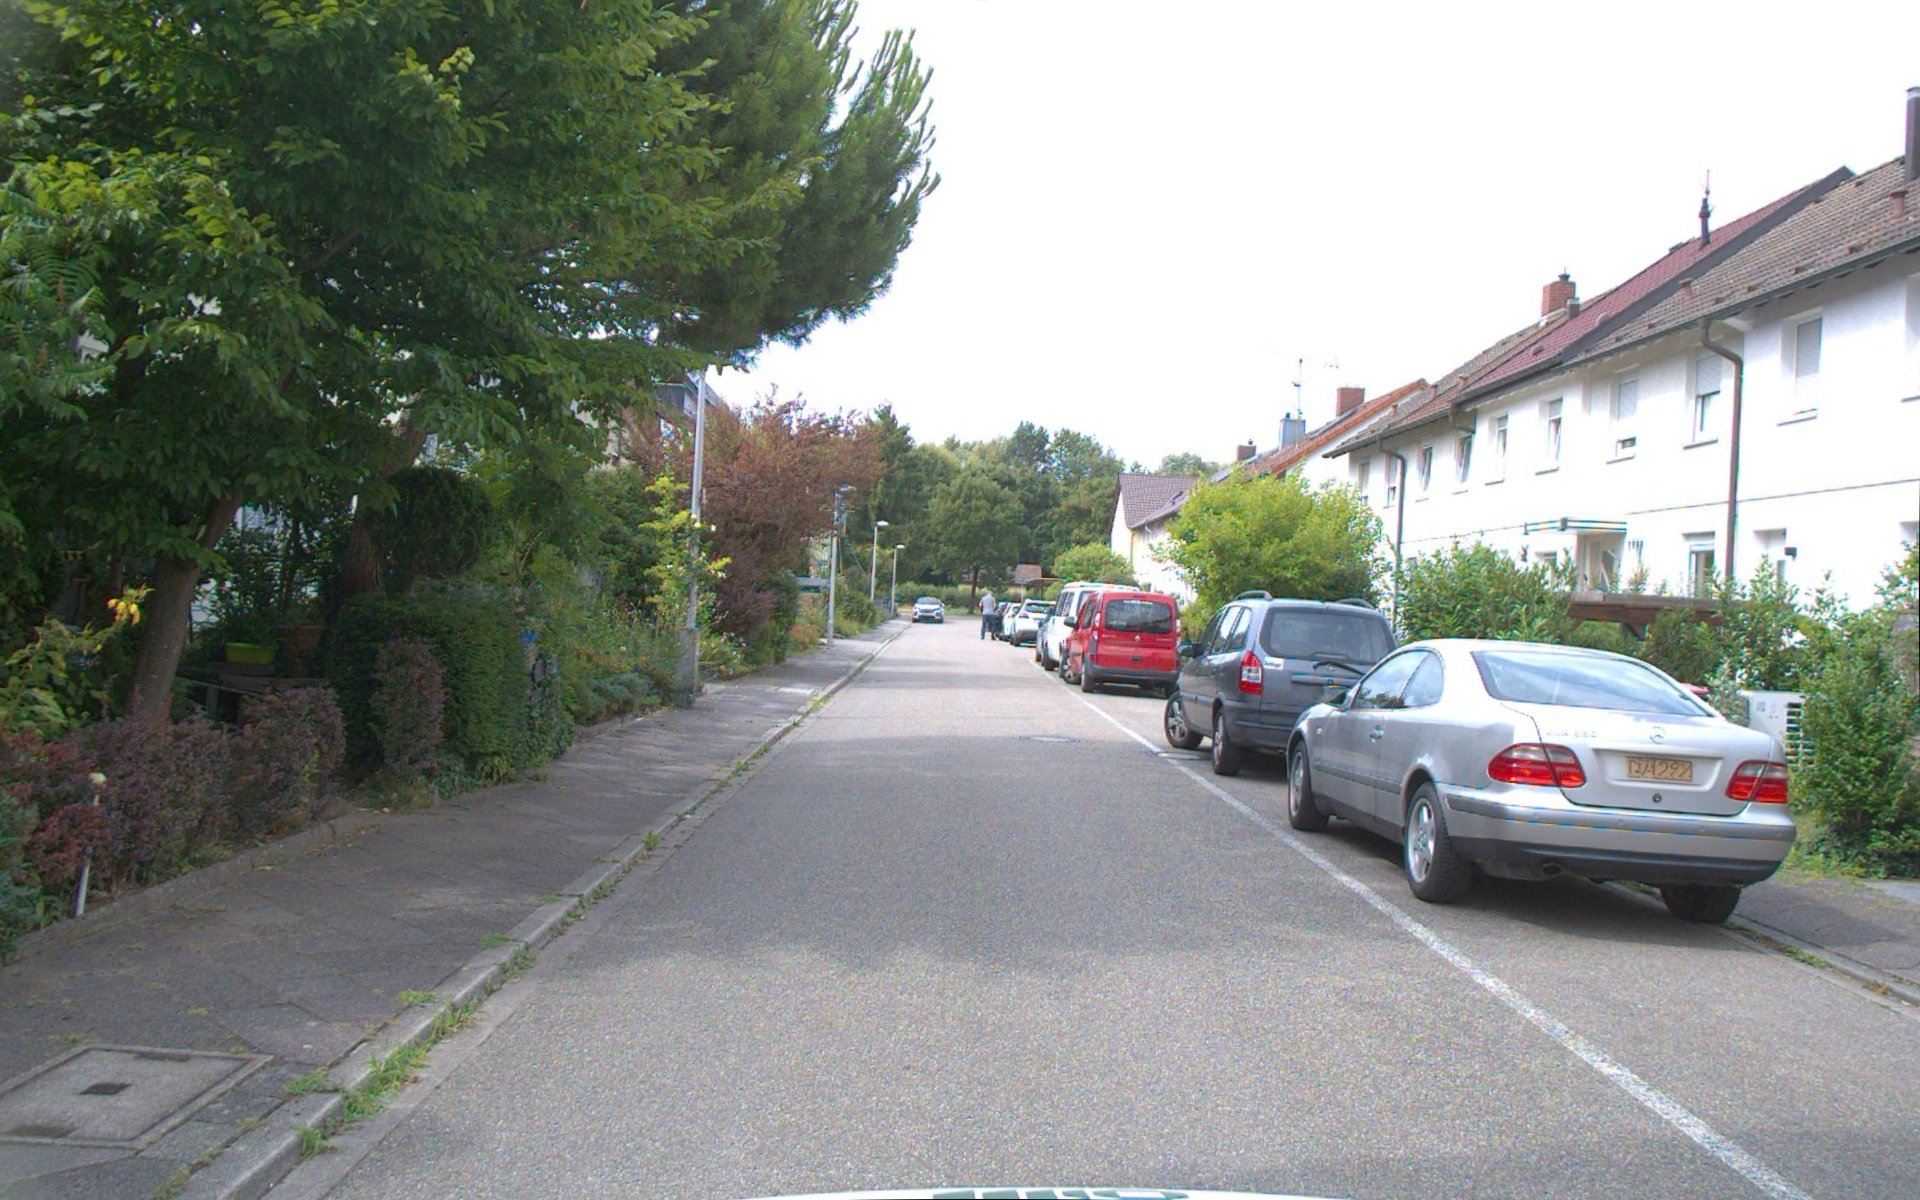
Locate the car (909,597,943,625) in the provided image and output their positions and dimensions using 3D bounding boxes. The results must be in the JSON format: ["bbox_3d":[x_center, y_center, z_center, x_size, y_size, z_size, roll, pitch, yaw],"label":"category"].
[{"bbox_3d":[-2.015,0.649,100.200,1.894,1.583,4.634,2,0,0],"label":"car"}]

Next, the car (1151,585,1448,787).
[{"bbox_3d":[3.224,0.745,16.644,1.830,1.682,4.462,3,0,-3],"label":"car"}]

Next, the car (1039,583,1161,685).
[{"bbox_3d":[2.944,0.681,35.810,1.980,1.981,4.745,2,0,-3],"label":"car"}]

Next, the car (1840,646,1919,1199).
[{"bbox_3d":[3.289,0.897,2.338,1.698,1.453,4.123,3,0,-3],"label":"car"}]

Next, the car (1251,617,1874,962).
[{"bbox_3d":[3.279,0.924,10.204,1.831,1.431,4.765,4,0,-3],"label":"car"}]

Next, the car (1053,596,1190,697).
[{"bbox_3d":[2.922,0.796,30.809,1.775,1.679,4.407,2,0,-4],"label":"car"}]

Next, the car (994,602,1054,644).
[{"bbox_3d":[2.394,0.856,63.005,1.801,1.437,4.634,2,0,-3],"label":"car"}]

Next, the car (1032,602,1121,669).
[{"bbox_3d":[2.821,0.844,40.911,1.862,1.485,4.129,2,0,0],"label":"car"}]

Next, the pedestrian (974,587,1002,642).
[{"bbox_3d":[1.067,0.536,62.634,0.894,2.049,0.950,2,0,-4],"label":"pedestrian"}]

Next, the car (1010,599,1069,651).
[{"bbox_3d":[2.648,0.798,55.673,1.679,1.570,3.973,4,0,0],"label":"car"}]
